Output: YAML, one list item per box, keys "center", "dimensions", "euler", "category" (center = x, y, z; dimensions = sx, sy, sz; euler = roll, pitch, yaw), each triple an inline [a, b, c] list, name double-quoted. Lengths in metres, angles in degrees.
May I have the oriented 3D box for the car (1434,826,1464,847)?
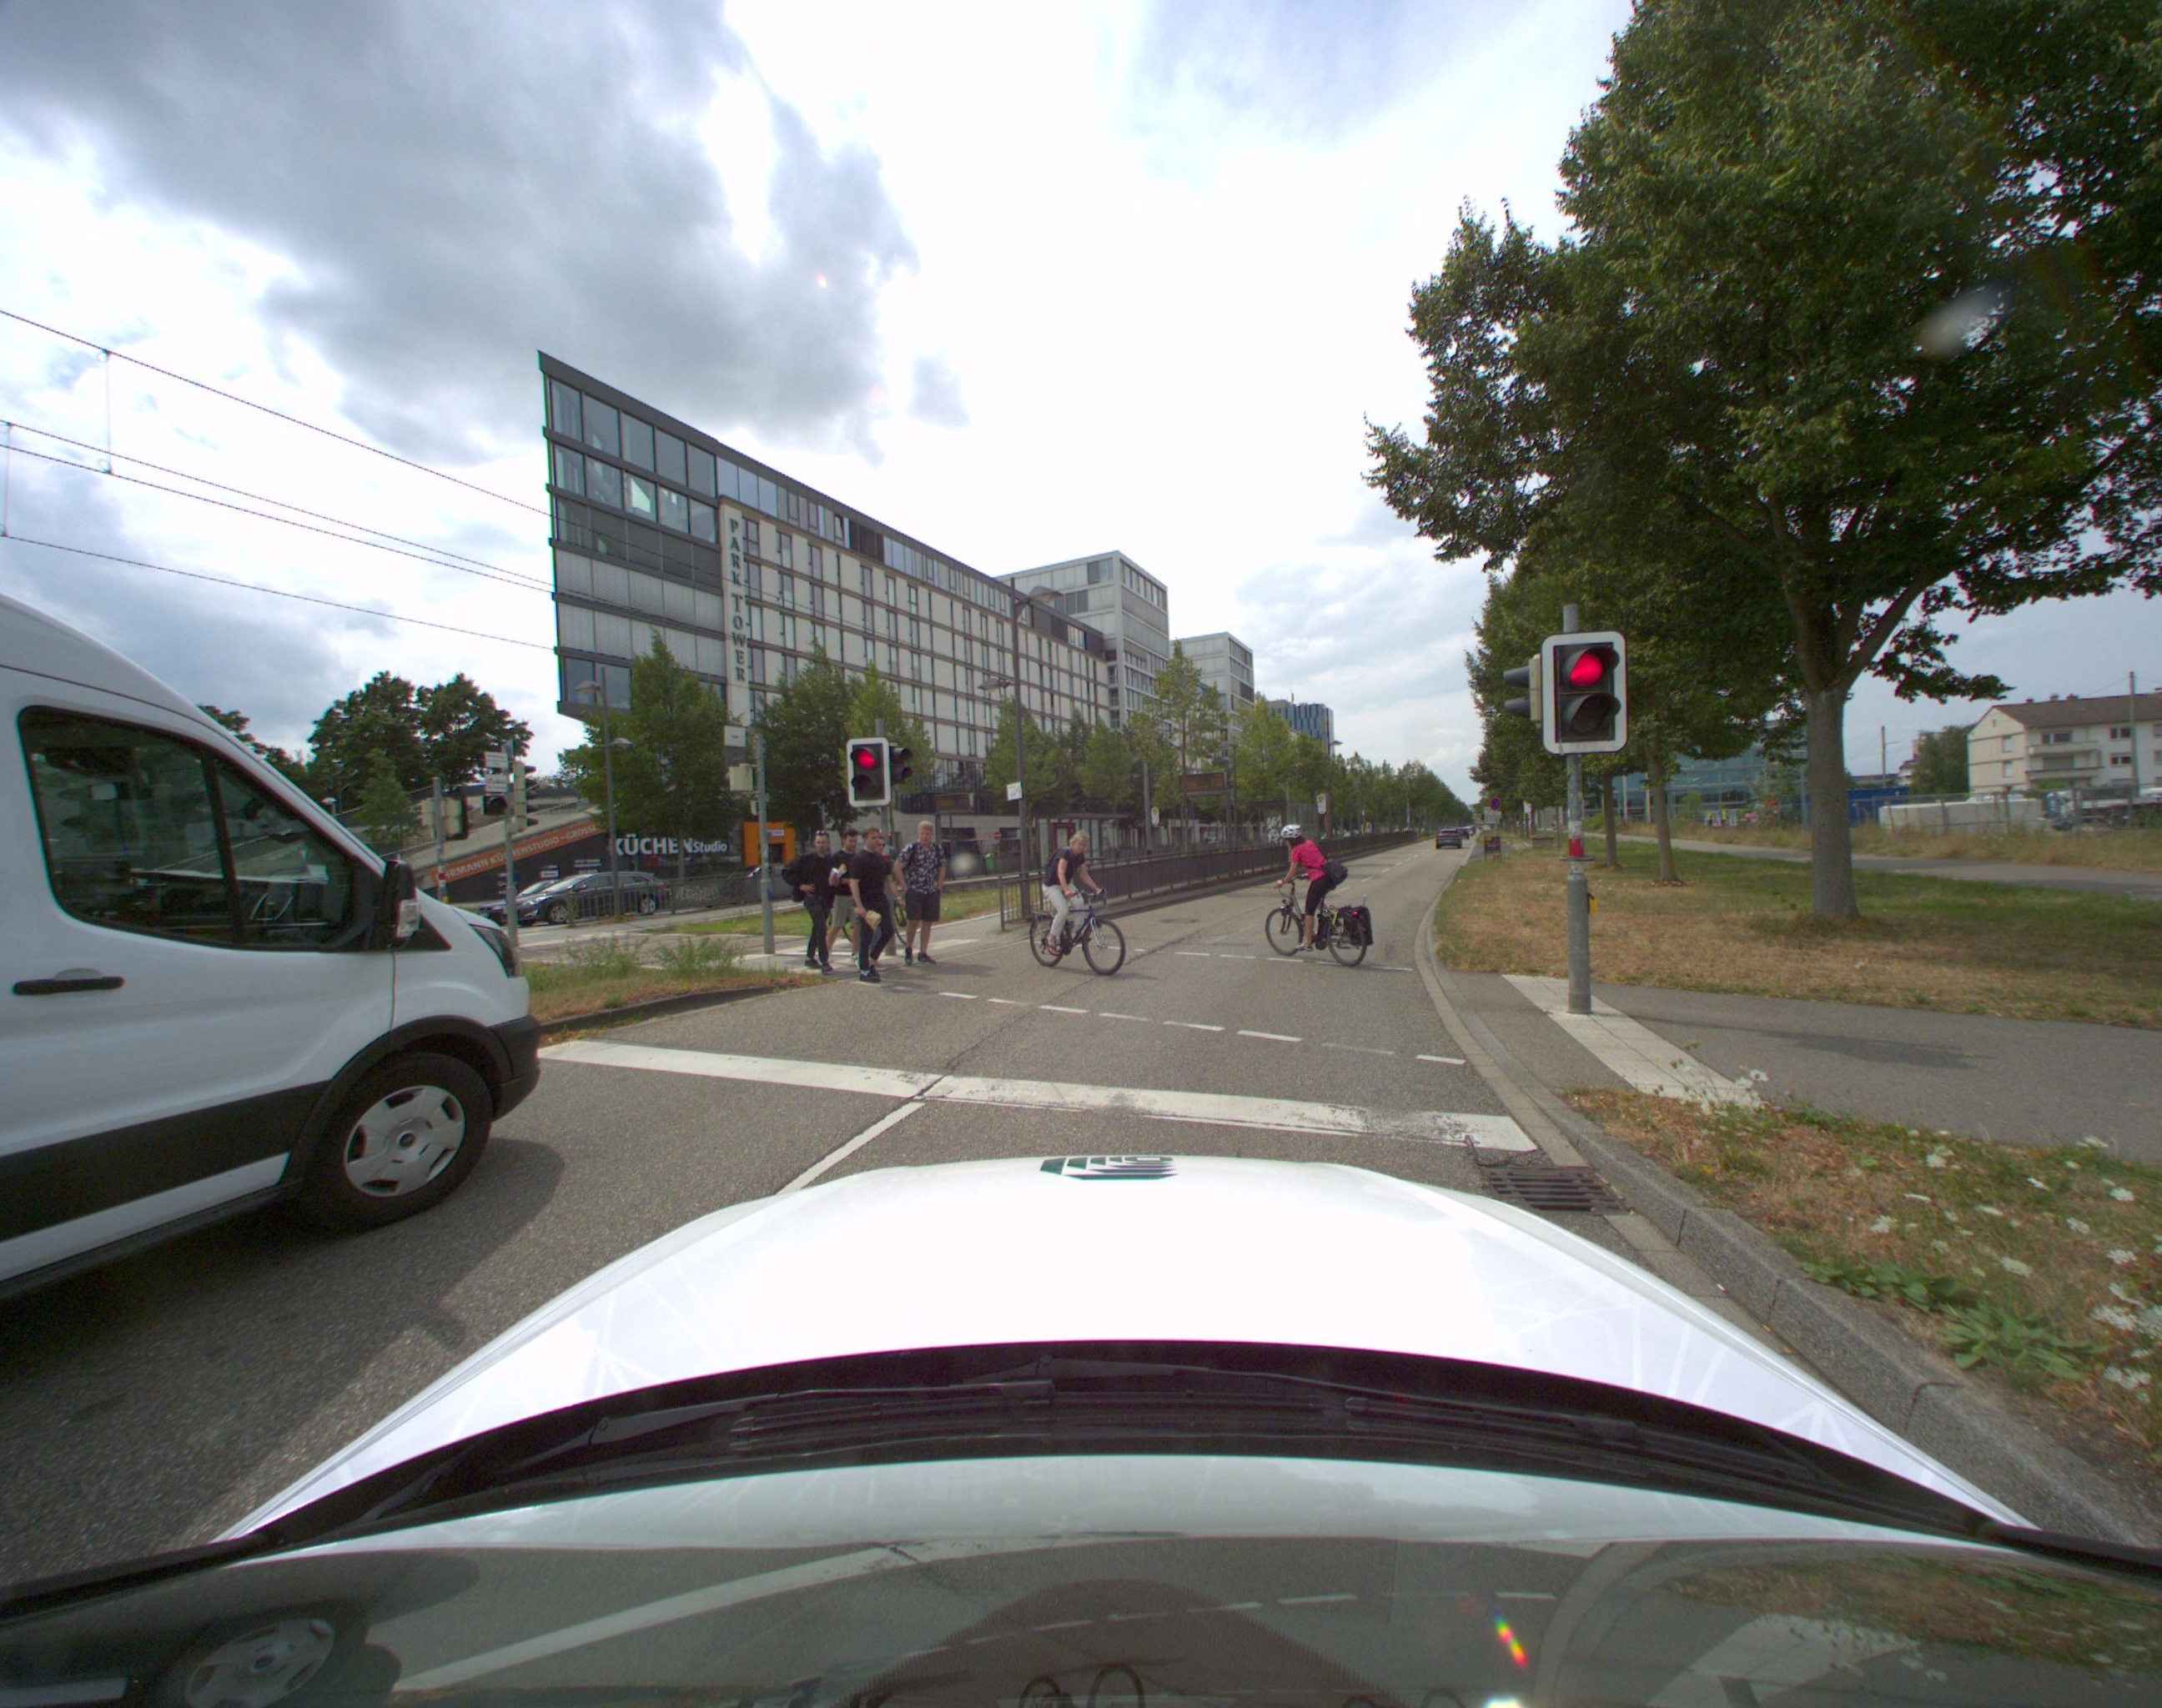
- center: [29.591, -1.427, 65.357]
  dimensions: [2.039, 1.551, 4.502]
  euler: [-2, 1, 26]
  category: "car"

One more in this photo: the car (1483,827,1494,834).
- center: [98.195, -5.590, 196.228]
  dimensions: [1.974, 1.618, 4.782]
  euler: [-2, 1, 30]
  category: "car"

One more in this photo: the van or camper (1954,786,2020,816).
- center: [90.701, -5.225, 81.615]
  dimensions: [2.324, 2.688, 5.274]
  euler: [-3, 0, 22]
  category: "van or camper"

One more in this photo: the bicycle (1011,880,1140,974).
- center: [-0.098, 0.870, 10.237]
  dimensions: [1.691, 1.058, 0.552]
  euler: [-2, 0, 45]
  category: "bicycle"

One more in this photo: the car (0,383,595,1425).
- center: [-3.912, 0.160, 1.538]
  dimensions: [2.116, 2.697, 5.640]
  euler: [-3, 0, 5]
  category: "car"

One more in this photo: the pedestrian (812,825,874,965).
- center: [-3.256, 0.549, 11.159]
  dimensions: [0.546, 1.862, 0.534]
  euler: [-2, 0, 21]
  category: "pedestrian"

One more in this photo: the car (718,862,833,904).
- center: [-12.053, 1.117, 32.392]
  dimensions: [1.825, 1.458, 4.025]
  euler: [-2, 1, 29]
  category: "car"

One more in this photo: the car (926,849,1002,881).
- center: [-6.010, 0.561, 42.416]
  dimensions: [1.825, 1.458, 4.025]
  euler: [-2, 1, 29]
  category: "car"

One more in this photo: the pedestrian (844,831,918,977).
- center: [-2.529, 0.606, 10.336]
  dimensions: [0.546, 1.781, 0.694]
  euler: [-2, 0, 21]
  category: "pedestrian"

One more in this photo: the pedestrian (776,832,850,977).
- center: [-3.416, 0.620, 10.411]
  dimensions: [0.546, 1.781, 0.637]
  euler: [-2, 0, 21]
  category: "pedestrian"

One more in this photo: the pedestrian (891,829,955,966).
- center: [-2.120, 0.571, 10.958]
  dimensions: [0.546, 1.781, 0.583]
  euler: [-2, 0, 21]
  category: "pedestrian"

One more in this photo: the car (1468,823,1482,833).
- center: [61.505, -4.061, 127.213]
  dimensions: [1.808, 1.462, 4.285]
  euler: [-2, 1, 24]
  category: "car"

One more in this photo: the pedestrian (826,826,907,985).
- center: [-2.495, 0.579, 9.516]
  dimensions: [0.546, 1.781, 0.694]
  euler: [-2, 0, 21]
  category: "pedestrian"

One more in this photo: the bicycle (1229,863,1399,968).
- center: [2.934, 0.726, 10.459]
  dimensions: [0.795, 1.168, 2.019]
  euler: [-3, 1, -35]
  category: "bicycle"

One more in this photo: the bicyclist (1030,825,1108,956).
- center: [-0.153, 0.442, 10.276]
  dimensions: [0.756, 1.580, 0.564]
  euler: [-2, 0, 45]
  category: "bicyclist"

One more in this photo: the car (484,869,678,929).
- center: [-15.114, 1.314, 24.947]
  dimensions: [1.825, 1.458, 4.767]
  euler: [-2, 1, 28]
  category: "car"

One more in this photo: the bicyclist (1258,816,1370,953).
- center: [2.957, 0.359, 10.387]
  dimensions: [0.795, 1.627, 1.038]
  euler: [-3, 1, -34]
  category: "bicyclist"

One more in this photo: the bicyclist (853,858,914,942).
- center: [-3.247, 0.745, 13.394]
  dimensions: [0.667, 1.317, 0.644]
  euler: [-2, 0, 25]
  category: "bicyclist"

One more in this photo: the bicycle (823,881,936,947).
- center: [-3.324, 0.980, 13.429]
  dimensions: [1.735, 1.007, 0.658]
  euler: [-2, 0, 24]
  category: "bicycle"

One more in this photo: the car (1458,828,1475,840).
- center: [49.807, -2.598, 105.187]
  dimensions: [1.719, 1.519, 4.172]
  euler: [-2, 1, 28]
  category: "car"

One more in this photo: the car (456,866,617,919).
- center: [-17.988, 1.233, 27.098]
  dimensions: [1.825, 1.458, 4.025]
  euler: [-2, 1, 28]
  category: "car"
